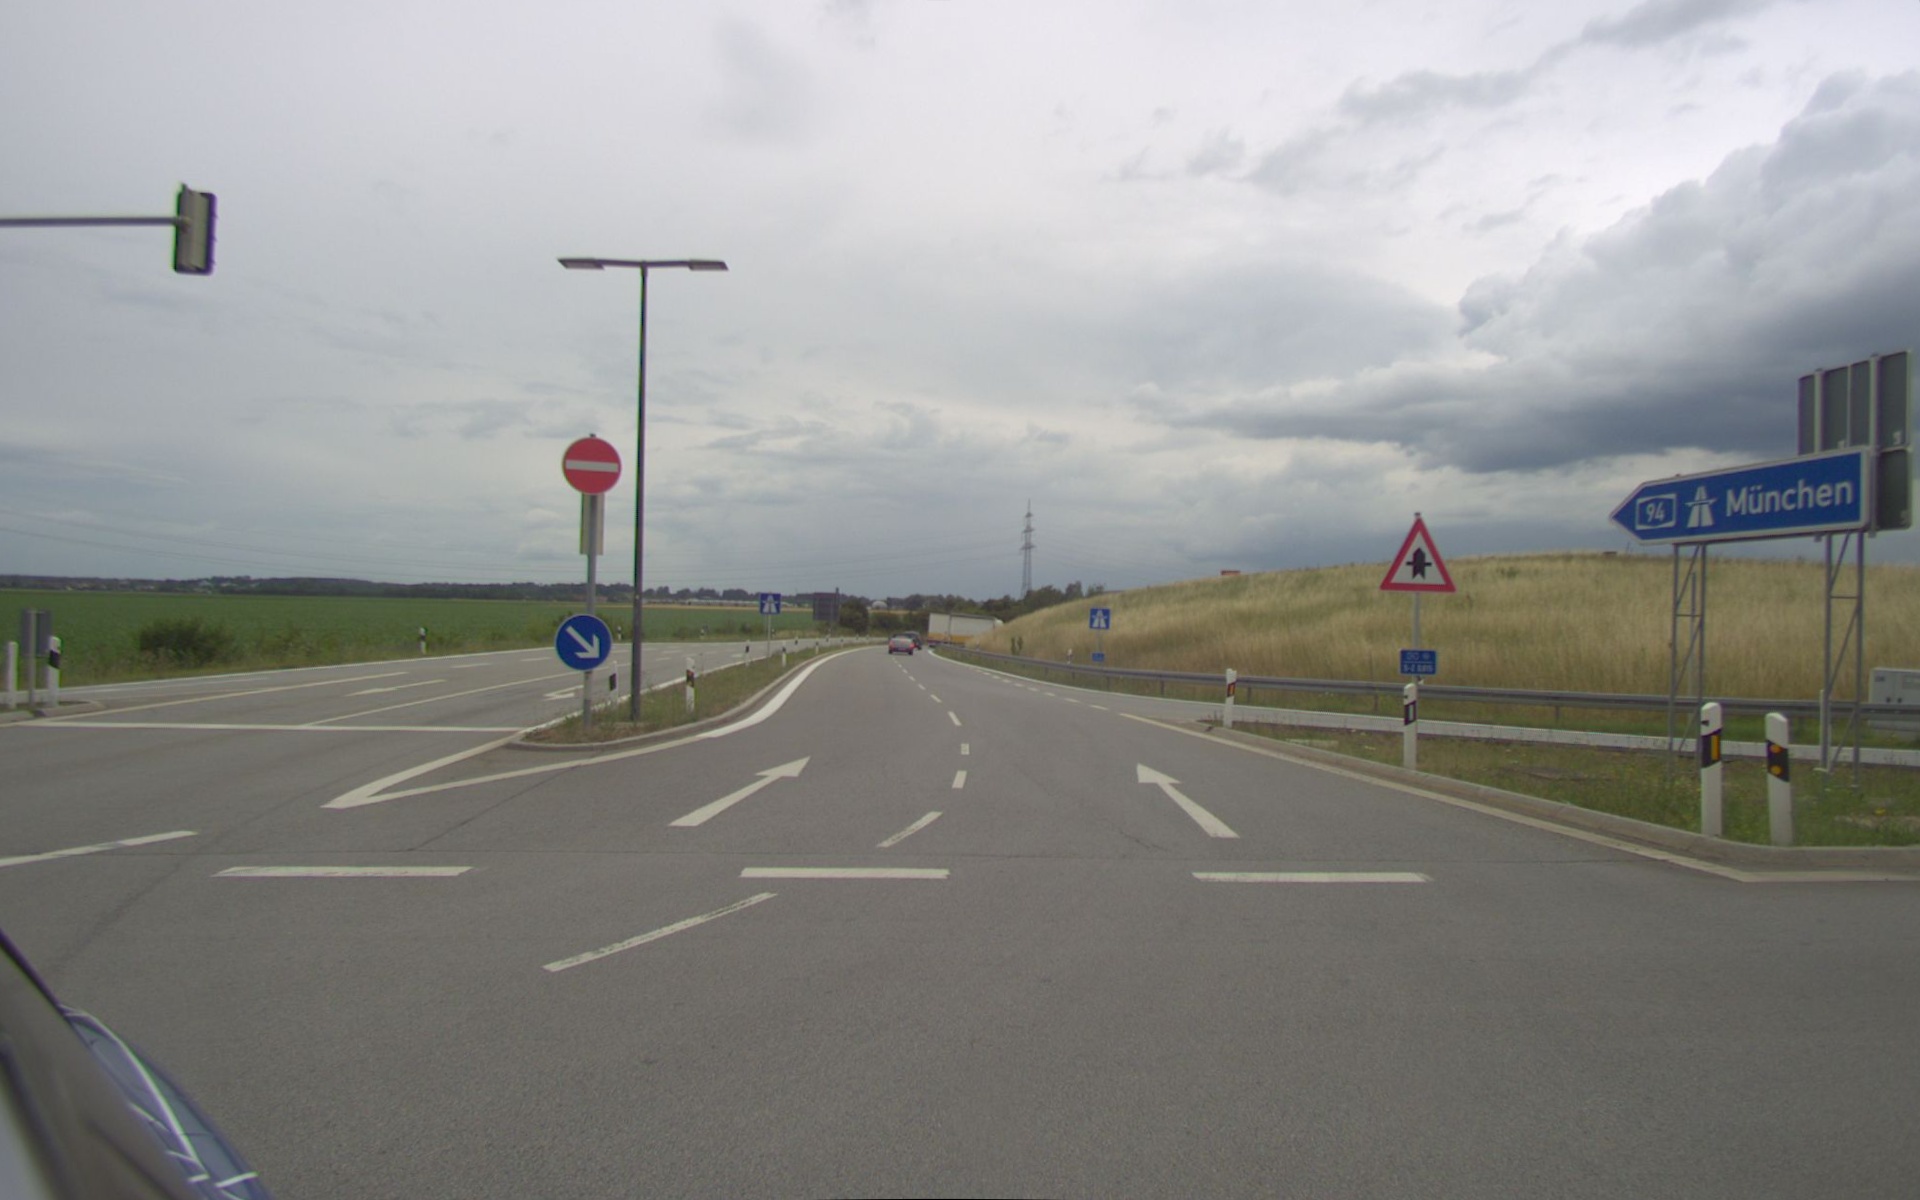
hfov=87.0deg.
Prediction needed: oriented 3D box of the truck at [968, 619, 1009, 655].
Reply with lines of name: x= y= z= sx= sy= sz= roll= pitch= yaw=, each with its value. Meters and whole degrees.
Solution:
truck: x=3.480 y=4.440 z=122.024 sx=2.642 sy=4.172 sz=6.350 roll=1 pitch=-2 yaw=24

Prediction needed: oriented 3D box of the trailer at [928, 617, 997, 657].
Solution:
trailer: x=0.463 y=4.204 z=115.928 sx=2.684 sy=4.242 sz=13.731 roll=1 pitch=-2 yaw=23

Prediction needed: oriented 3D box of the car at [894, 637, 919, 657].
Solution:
car: x=-5.138 y=4.472 z=96.171 sx=1.969 sy=1.707 sz=4.462 roll=2 pitch=-2 yaw=-7

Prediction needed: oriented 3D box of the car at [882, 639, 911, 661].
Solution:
car: x=-4.593 y=3.587 z=73.017 sx=1.787 sy=1.532 sz=4.249 roll=1 pitch=-3 yaw=-7
